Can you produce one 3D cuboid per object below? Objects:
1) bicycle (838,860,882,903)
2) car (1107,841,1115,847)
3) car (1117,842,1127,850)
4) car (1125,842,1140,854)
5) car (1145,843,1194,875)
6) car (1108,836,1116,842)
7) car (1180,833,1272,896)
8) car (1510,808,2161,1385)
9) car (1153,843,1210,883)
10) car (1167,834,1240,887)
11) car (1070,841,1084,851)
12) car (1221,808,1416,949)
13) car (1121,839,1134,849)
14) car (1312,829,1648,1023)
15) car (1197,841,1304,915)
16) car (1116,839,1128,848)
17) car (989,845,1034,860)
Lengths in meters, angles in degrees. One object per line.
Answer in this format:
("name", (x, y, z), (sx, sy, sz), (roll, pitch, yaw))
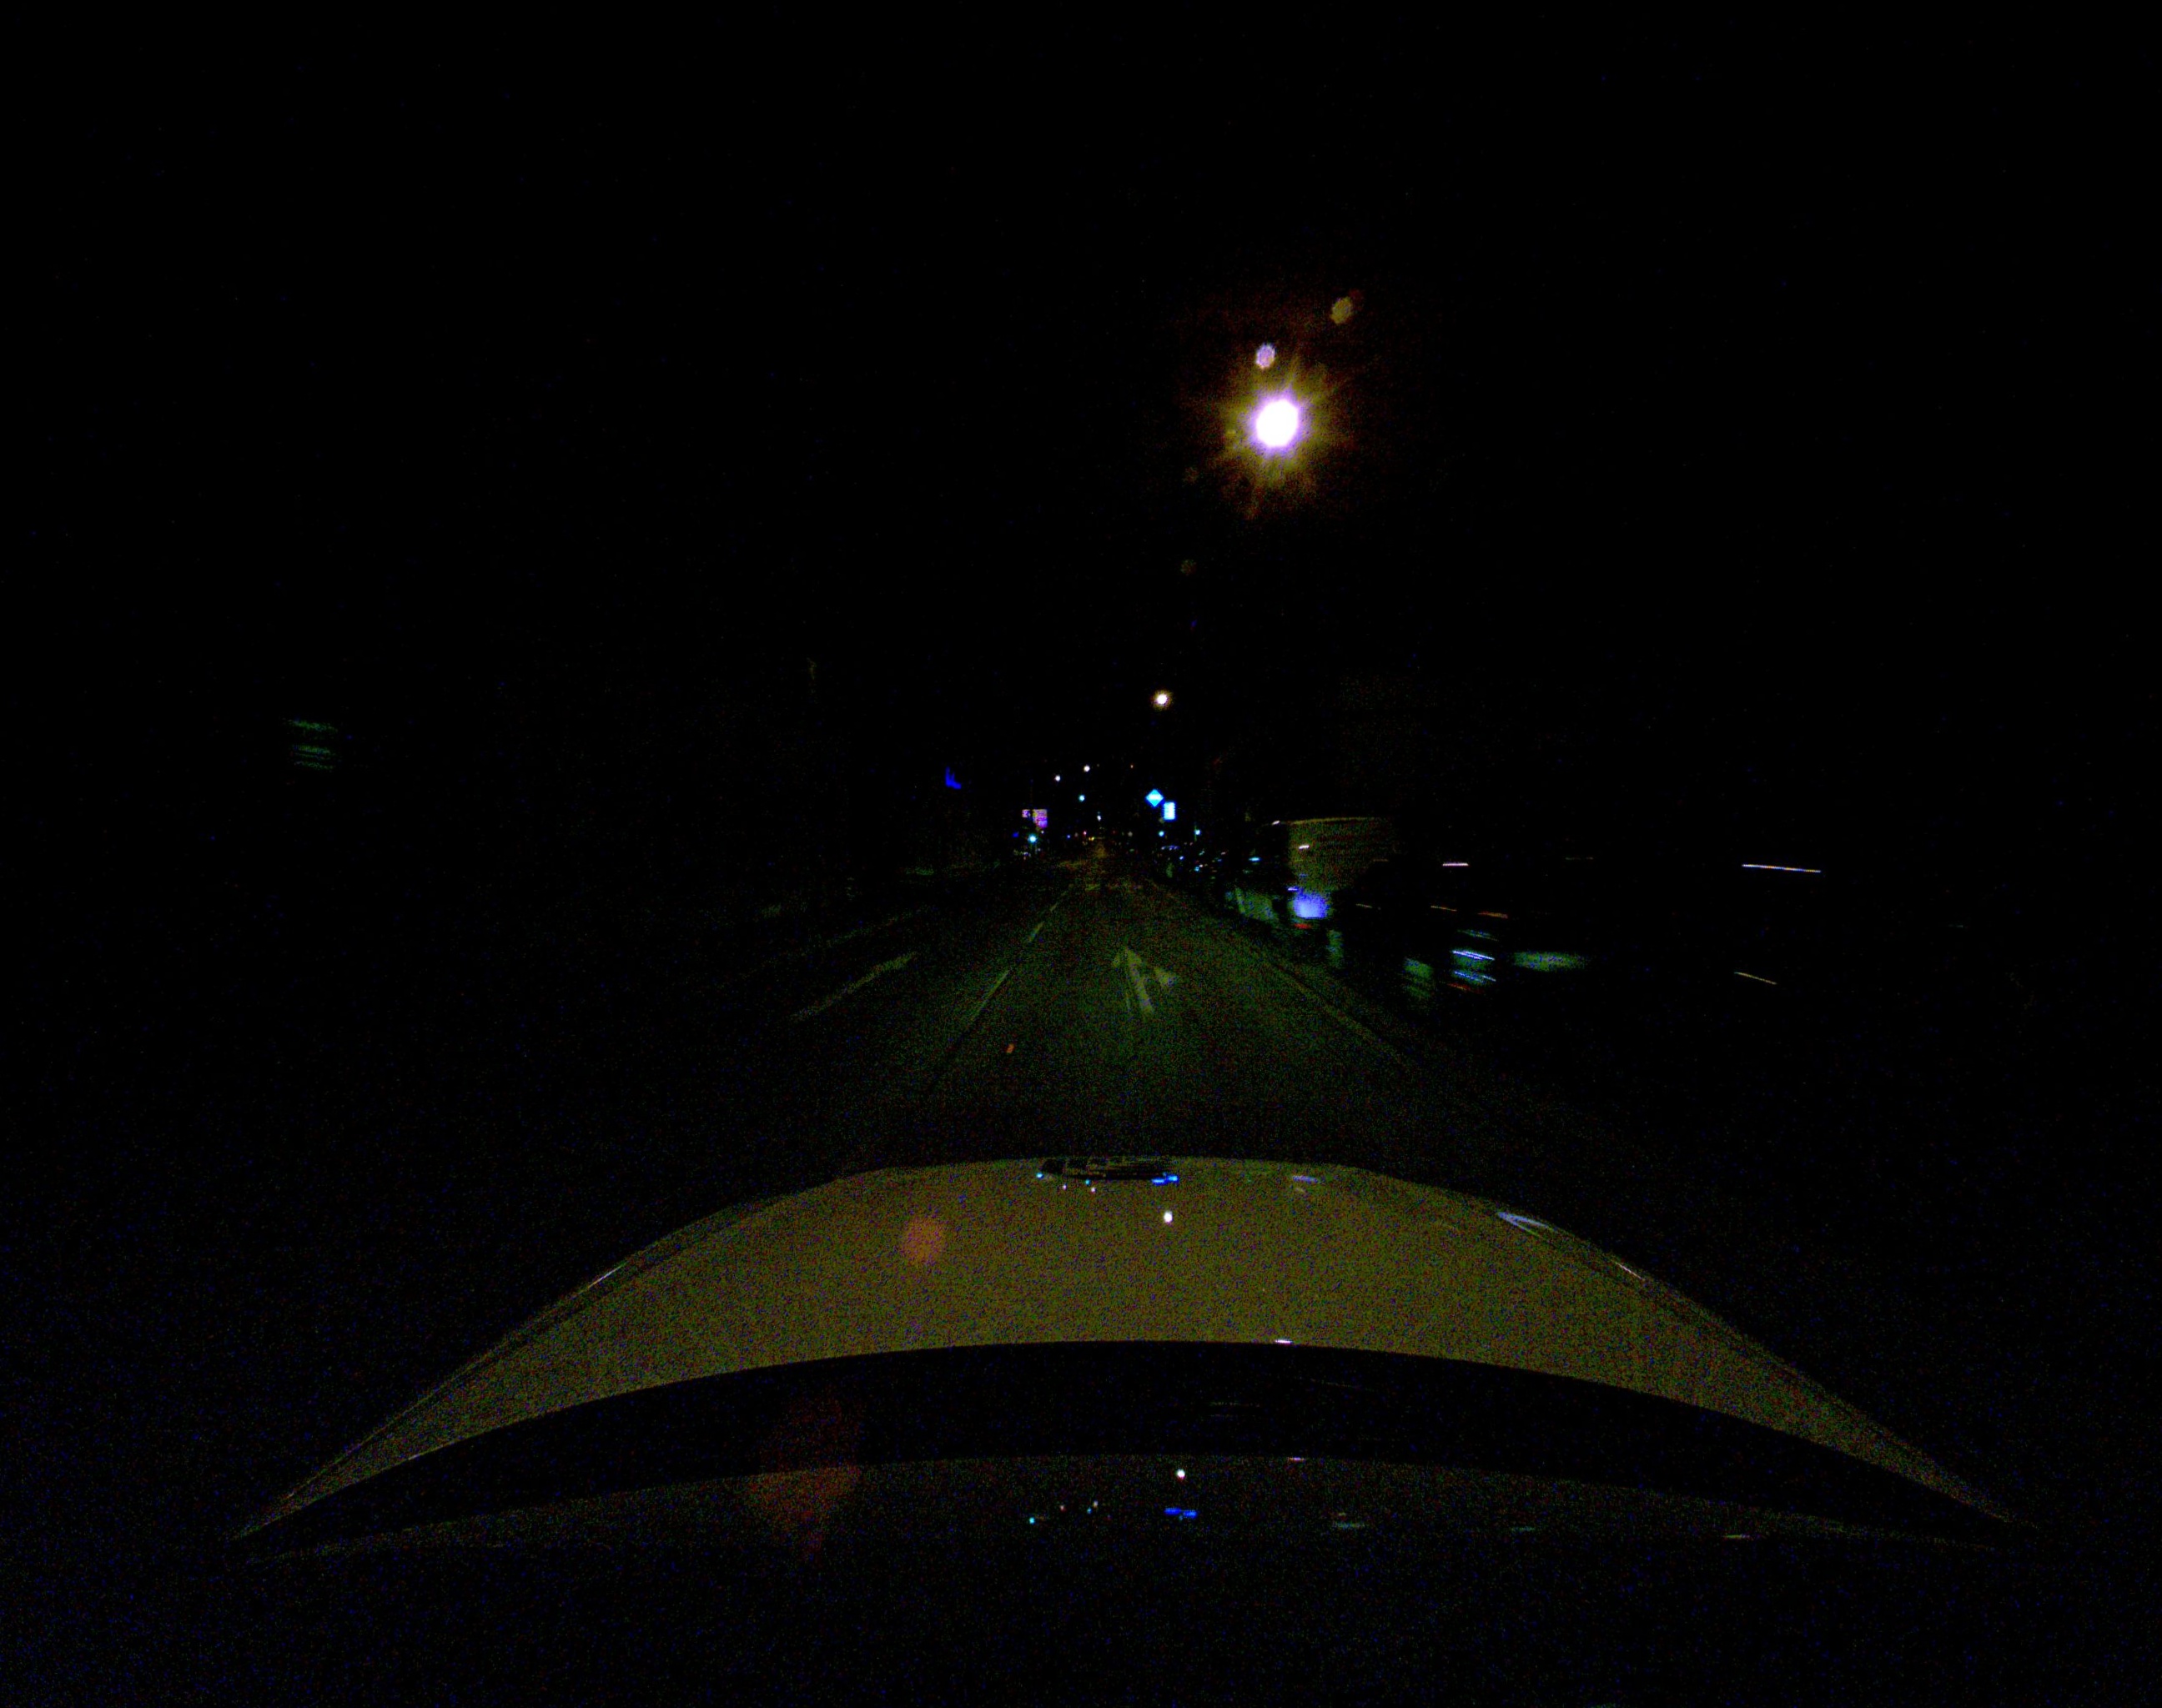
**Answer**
("bicycle", (-5.785, 0.691, 21.372), (0.617, 1.051, 1.722), (-1, 0, 2))
("car", (7.547, -2.576, 204.729), (1.985, 1.520, 4.003), (-1, 0, 3))
("car", (7.873, -1.535, 156.585), (1.985, 1.520, 4.003), (-1, 0, 3))
("car", (6.891, -0.847, 108.580), (1.985, 1.516, 4.004), (0, 1, 3))
("car", (4.352, 0.247, 40.737), (1.854, 1.489, 4.544), (-1, 0, -1))
("car", (8.625, -4.144, 227.526), (1.985, 1.520, 4.003), (-1, 0, 3))
("car", (4.129, 0.242, 23.909), (1.817, 1.588, 4.628), (-2, 1, 0))
("car", (3.588, 0.599, 3.531), (1.589, 1.467, 3.721), (-1, 0, 2))
("car", (4.143, 0.356, 34.312), (1.769, 1.544, 4.544), (-1, 0, -1))
("car", (4.210, 0.174, 28.705), (1.818, 1.623, 4.456), (-2, 1, -1))
("car", (-0.571, -1.188, 127.046), (1.986, 1.502, 4.001), (-1, 0, 1))
("car", (3.727, 0.301, 13.746), (1.795, 1.875, 4.773), (-3, 1, 0))
("car", (7.520, -1.654, 132.337), (1.985, 1.520, 4.003), (-1, 0, 3))
("car", (3.621, 0.549, 8.218), (1.589, 1.467, 3.894), (-1, 0, 2))
("car", (3.741, 0.451, 18.657), (1.808, 1.427, 4.194), (-3, 1, 4))
("car", (7.015, -1.745, 138.727), (1.985, 1.520, 4.003), (-1, 0, 3))
("car", (-7.242, -0.143, 84.781), (4.423, 1.449, 2.000), (-1, 0, 1))
